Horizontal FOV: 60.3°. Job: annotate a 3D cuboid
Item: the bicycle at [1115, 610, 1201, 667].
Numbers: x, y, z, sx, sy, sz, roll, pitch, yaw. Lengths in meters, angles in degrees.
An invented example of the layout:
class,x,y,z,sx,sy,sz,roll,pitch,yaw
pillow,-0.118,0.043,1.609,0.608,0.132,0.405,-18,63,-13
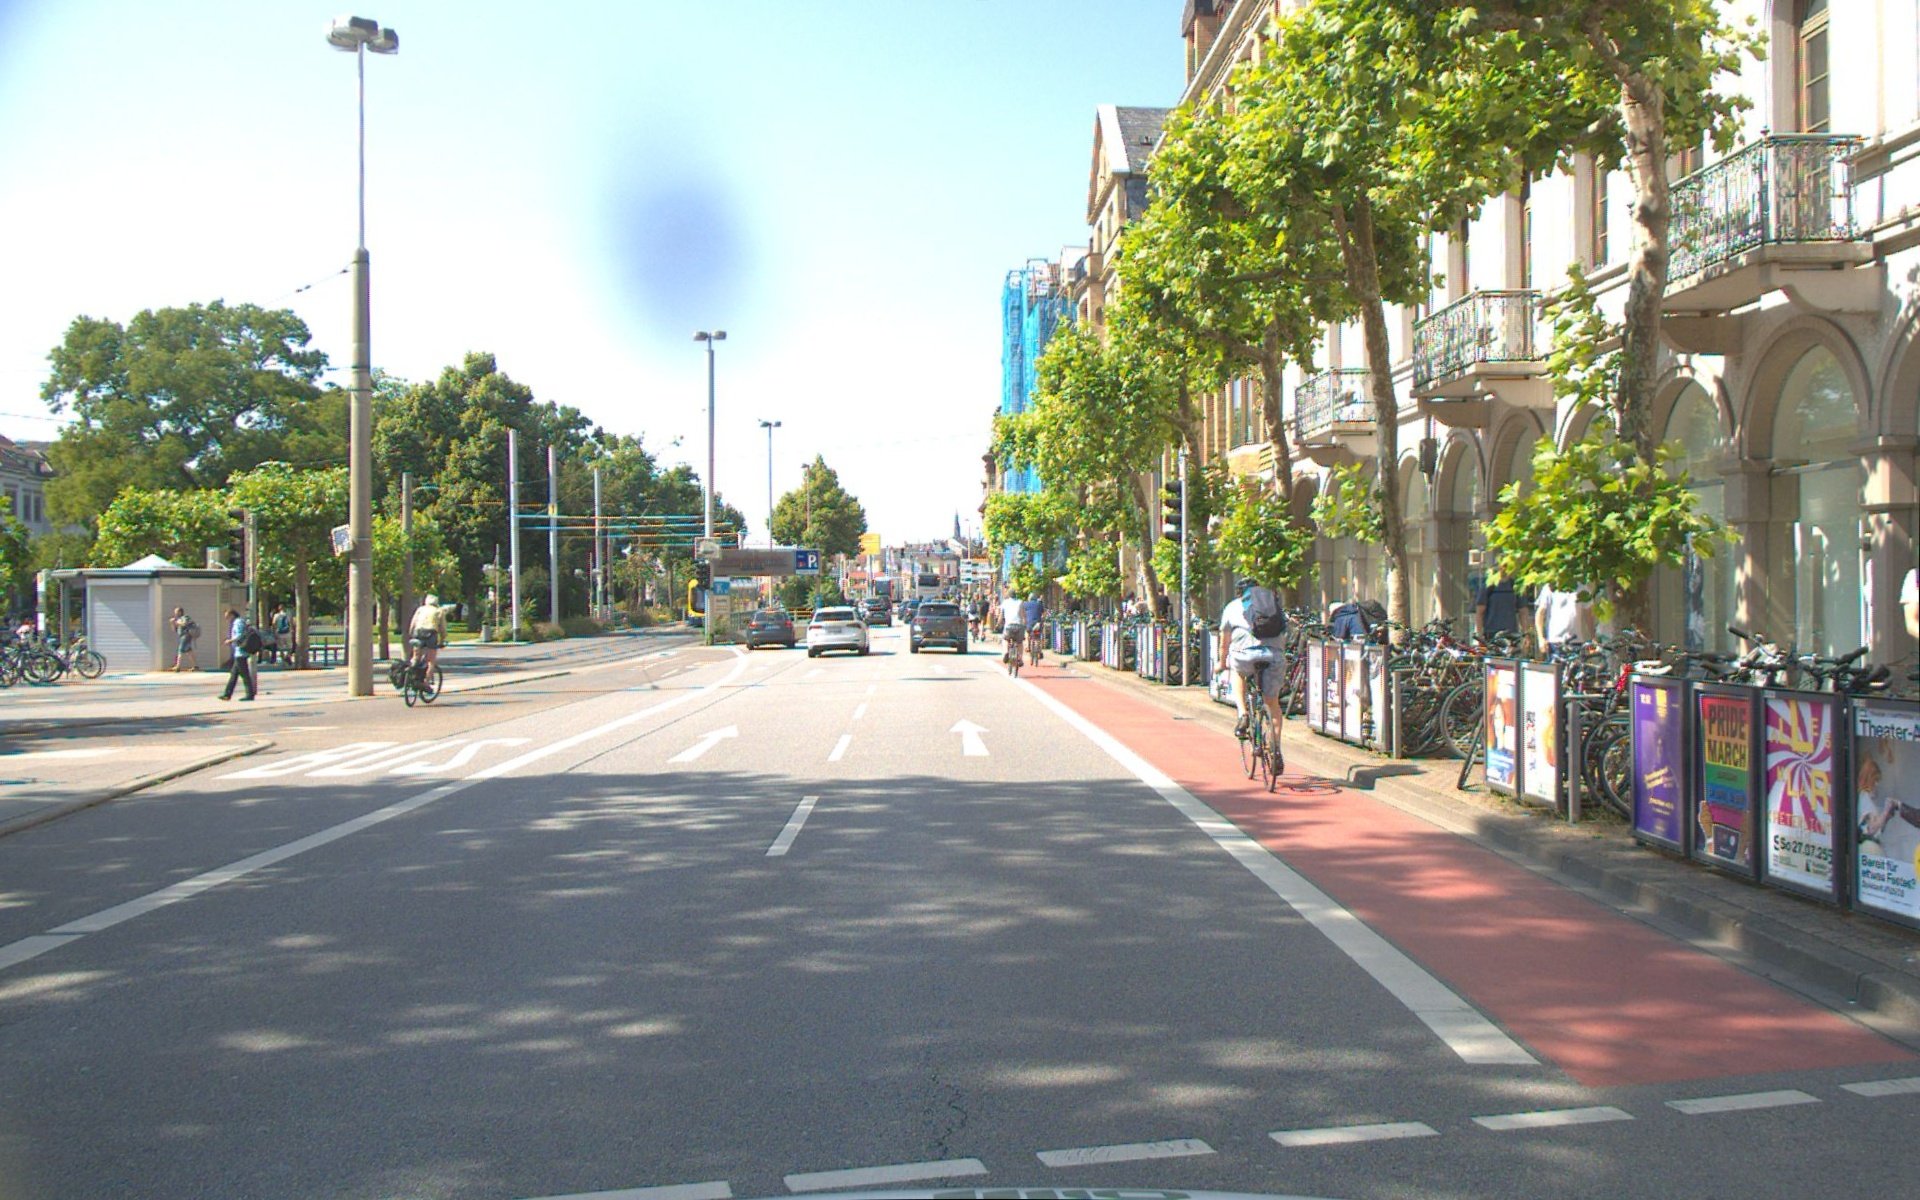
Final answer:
class,x,y,z,sx,sy,sz,roll,pitch,yaw
bicycle,4.133,0.794,34.543,1.718,1.167,0.482,0,0,-4

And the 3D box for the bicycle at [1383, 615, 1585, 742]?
class,x,y,z,sx,sy,sz,roll,pitch,yaw
bicycle,4.927,0.725,15.584,1.718,1.167,0.592,0,0,-4

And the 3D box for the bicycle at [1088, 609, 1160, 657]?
class,x,y,z,sx,sy,sz,roll,pitch,yaw
bicycle,4.044,0.811,40.818,1.718,1.167,0.482,0,0,-4

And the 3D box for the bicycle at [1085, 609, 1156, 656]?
class,x,y,z,sx,sy,sz,roll,pitch,yaw
bicycle,4.010,0.813,41.360,1.718,1.167,0.482,0,0,-4

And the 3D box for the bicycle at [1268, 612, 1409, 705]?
class,x,y,z,sx,sy,sz,roll,pitch,yaw
bicycle,4.878,0.746,21.349,1.718,1.167,0.482,0,0,-4

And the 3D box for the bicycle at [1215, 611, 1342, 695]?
class,x,y,z,sx,sy,sz,roll,pitch,yaw
bicycle,4.682,0.776,24.329,1.764,1.215,0.482,0,0,-4

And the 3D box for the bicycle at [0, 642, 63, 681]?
class,x,y,z,sx,sy,sz,roll,pitch,yaw
bicycle,-22.423,1.458,39.316,1.834,0.871,0.544,2,-1,-15

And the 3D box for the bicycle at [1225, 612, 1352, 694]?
class,x,y,z,sx,sy,sz,roll,pitch,yaw
bicycle,4.714,0.753,23.777,1.718,1.167,0.482,0,0,-4

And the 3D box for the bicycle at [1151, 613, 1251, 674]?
class,x,y,z,sx,sy,sz,roll,pitch,yaw
bicycle,4.336,0.780,29.782,1.718,1.087,0.482,0,0,-4

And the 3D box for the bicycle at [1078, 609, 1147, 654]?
class,x,y,z,sx,sy,sz,roll,pitch,yaw
bicycle,3.953,0.817,42.874,1.718,1.167,0.482,0,0,-4

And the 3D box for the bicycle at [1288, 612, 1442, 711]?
class,x,y,z,sx,sy,sz,roll,pitch,yaw
bicycle,4.901,0.739,20.050,1.718,1.167,0.592,0,0,-4

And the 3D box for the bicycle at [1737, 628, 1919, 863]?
class,x,y,z,sx,sy,sz,roll,pitch,yaw
bicycle,5.056,0.736,8.660,1.718,1.167,0.592,0,0,-4

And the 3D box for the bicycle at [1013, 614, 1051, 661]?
class,x,y,z,sx,sy,sz,roll,pitch,yaw
bicycle,1.752,0.915,40.718,0.719,1.112,1.910,1,0,-3

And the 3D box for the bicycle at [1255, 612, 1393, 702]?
class,x,y,z,sx,sy,sz,roll,pitch,yaw
bicycle,4.825,0.747,21.943,1.718,1.167,0.482,0,0,-4

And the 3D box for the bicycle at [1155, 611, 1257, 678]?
class,x,y,z,sx,sy,sz,roll,pitch,yaw
bicycle,4.352,0.778,29.270,1.718,1.167,0.482,0,0,-4

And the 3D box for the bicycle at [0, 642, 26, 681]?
class,x,y,z,sx,sy,sz,roll,pitch,yaw
bicycle,-22.309,1.388,37.531,1.834,0.871,0.544,2,-1,-15

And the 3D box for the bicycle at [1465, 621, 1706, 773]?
class,x,y,z,sx,sy,sz,roll,pitch,yaw
bicycle,4.995,0.760,13.254,1.718,1.167,0.598,0,0,-4

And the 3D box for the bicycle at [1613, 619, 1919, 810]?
class,x,y,z,sx,sy,sz,roll,pitch,yaw
bicycle,5.152,0.711,10.599,1.718,1.167,0.592,0,0,-4

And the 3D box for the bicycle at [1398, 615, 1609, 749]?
class,x,y,z,sx,sy,sz,roll,pitch,yaw
bicycle,4.897,0.725,14.949,1.718,1.167,0.592,0,0,-4

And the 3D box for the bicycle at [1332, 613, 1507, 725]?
class,x,y,z,sx,sy,sz,roll,pitch,yaw
bicycle,4.918,0.732,17.756,1.718,1.167,0.592,0,0,-4

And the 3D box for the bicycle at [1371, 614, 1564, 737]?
class,x,y,z,sx,sy,sz,roll,pitch,yaw
bicycle,4.973,0.727,16.264,1.718,1.167,0.592,0,0,-4

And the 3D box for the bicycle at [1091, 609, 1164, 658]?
class,x,y,z,sx,sy,sz,roll,pitch,yaw
bicycle,4.074,0.810,40.247,1.718,1.167,0.499,0,0,-4

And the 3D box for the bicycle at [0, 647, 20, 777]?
class,x,y,z,sx,sy,sz,roll,pitch,yaw
bicycle,-9.531,1.017,14.981,1.718,1.167,0.482,0,0,-4

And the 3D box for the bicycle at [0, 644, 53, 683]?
class,x,y,z,sx,sy,sz,roll,pitch,yaw
bicycle,-22.347,1.474,38.736,1.834,0.871,0.544,2,-1,-15

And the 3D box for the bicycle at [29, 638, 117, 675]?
class,x,y,z,sx,sy,sz,roll,pitch,yaw
bicycle,-22.300,1.429,41.596,1.834,0.885,0.579,2,-1,-15

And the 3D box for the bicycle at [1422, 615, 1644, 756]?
class,x,y,z,sx,sy,sz,roll,pitch,yaw
bicycle,4.921,0.722,14.249,1.718,1.167,0.592,0,0,-4

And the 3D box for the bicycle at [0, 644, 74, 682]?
class,x,y,z,sx,sy,sz,roll,pitch,yaw
bicycle,-22.478,1.522,39.907,1.834,0.885,0.579,2,-1,-15

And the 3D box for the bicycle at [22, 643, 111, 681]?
class,x,y,z,sx,sy,sz,roll,pitch,yaw
bicycle,-22.154,1.535,41.032,1.834,0.885,0.579,2,-1,-15

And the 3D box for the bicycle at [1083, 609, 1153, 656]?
class,x,y,z,sx,sy,sz,roll,pitch,yaw
bicycle,3.997,0.815,41.865,1.718,1.167,0.482,0,0,-4

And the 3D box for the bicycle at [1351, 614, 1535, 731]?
class,x,y,z,sx,sy,sz,roll,pitch,yaw
bicycle,4.945,0.729,16.993,1.718,1.167,0.592,0,0,-4

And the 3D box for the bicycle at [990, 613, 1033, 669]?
class,x,y,z,sx,sy,sz,roll,pitch,yaw
bicycle,1.066,0.840,34.779,0.719,1.112,1.896,1,0,-3

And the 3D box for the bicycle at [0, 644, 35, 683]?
class,x,y,z,sx,sy,sz,roll,pitch,yaw
bicycle,-22.377,1.446,38.020,1.834,0.871,0.544,2,-1,-15

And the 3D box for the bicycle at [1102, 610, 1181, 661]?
class,x,y,z,sx,sy,sz,roll,pitch,yaw
bicycle,4.093,0.805,37.380,1.718,1.143,0.482,0,0,-4

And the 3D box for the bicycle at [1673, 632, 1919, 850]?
class,x,y,z,sx,sy,sz,roll,pitch,yaw
bicycle,5.016,0.775,9.364,1.718,1.167,0.592,0,0,-4

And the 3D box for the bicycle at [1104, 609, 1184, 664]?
class,x,y,z,sx,sy,sz,roll,pitch,yaw
bicycle,4.095,0.804,36.827,1.718,1.208,0.482,0,0,-4

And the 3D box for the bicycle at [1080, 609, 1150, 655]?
class,x,y,z,sx,sy,sz,roll,pitch,yaw
bicycle,3.966,0.816,42.370,1.718,1.167,0.482,0,0,-4

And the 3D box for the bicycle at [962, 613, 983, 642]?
class,x,y,z,sx,sy,sz,roll,pitch,yaw
bicycle,0.501,1.076,65.955,0.719,1.112,1.897,1,0,-3

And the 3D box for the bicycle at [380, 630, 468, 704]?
class,x,y,z,sx,sy,sz,roll,pitch,yaw
bicycle,-8.963,1.102,27.745,0.801,1.140,1.874,-3,0,0

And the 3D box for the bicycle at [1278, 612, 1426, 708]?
class,x,y,z,sx,sy,sz,roll,pitch,yaw
bicycle,4.905,0.740,20.747,1.718,1.167,0.592,0,0,-4

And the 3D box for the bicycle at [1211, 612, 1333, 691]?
class,x,y,z,sx,sy,sz,roll,pitch,yaw
bicycle,4.695,0.767,24.888,1.738,1.167,0.482,0,0,-4

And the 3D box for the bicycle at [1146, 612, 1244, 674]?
class,x,y,z,sx,sy,sz,roll,pitch,yaw
bicycle,4.312,0.782,30.339,1.718,1.106,0.482,0,0,-4

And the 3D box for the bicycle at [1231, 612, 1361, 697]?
class,x,y,z,sx,sy,sz,roll,pitch,yaw
bicycle,4.718,0.757,23.245,1.718,1.167,0.482,0,0,-4

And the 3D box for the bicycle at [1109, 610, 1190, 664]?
class,x,y,z,sx,sy,sz,roll,pitch,yaw
bicycle,4.145,0.800,36.204,1.718,1.167,0.482,0,0,-4

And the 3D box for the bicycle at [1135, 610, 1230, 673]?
class,x,y,z,sx,sy,sz,roll,pitch,yaw
bicycle,4.219,0.784,31.356,1.718,1.167,0.482,0,0,-4

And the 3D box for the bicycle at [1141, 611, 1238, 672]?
class,x,y,z,sx,sy,sz,roll,pitch,yaw
bicycle,4.276,0.774,30.840,1.718,1.124,0.482,0,0,-4

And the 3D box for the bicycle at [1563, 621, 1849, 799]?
class,x,y,z,sx,sy,sz,roll,pitch,yaw
bicycle,5.103,0.737,11.353,1.718,1.167,0.592,0,0,-4

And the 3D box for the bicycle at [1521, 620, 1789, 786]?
class,x,y,z,sx,sy,sz,roll,pitch,yaw
bicycle,5.055,0.734,12.073,1.718,1.167,0.592,0,0,-4

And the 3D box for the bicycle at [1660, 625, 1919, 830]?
class,x,y,z,sx,sy,sz,roll,pitch,yaw
bicycle,5.211,0.750,10.000,1.718,1.178,0.592,0,0,-4

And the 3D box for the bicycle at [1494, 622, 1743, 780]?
class,x,y,z,sx,sy,sz,roll,pitch,yaw
bicycle,5.022,0.758,12.657,1.718,1.167,0.517,0,0,-4

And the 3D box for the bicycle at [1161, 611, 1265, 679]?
class,x,y,z,sx,sy,sz,roll,pitch,yaw
bicycle,4.398,0.777,28.758,1.718,1.167,0.482,0,0,-4

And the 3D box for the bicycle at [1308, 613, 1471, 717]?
class,x,y,z,sx,sy,sz,roll,pitch,yaw
bicycle,4.945,0.736,19.091,1.718,1.167,0.592,0,0,-4

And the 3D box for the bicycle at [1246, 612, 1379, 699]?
class,x,y,z,sx,sy,sz,roll,pitch,yaw
bicycle,4.799,0.752,22.553,1.718,1.167,0.482,0,0,-4

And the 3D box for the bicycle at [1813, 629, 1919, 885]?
class,x,y,z,sx,sy,sz,roll,pitch,yaw
bicycle,5.111,0.725,7.976,1.718,1.167,0.592,0,0,-4

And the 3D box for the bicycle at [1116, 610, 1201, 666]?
class,x,y,z,sx,sy,sz,roll,pitch,yaw
bicycle,4.211,0.795,35.105,1.718,1.167,0.527,0,0,-4
